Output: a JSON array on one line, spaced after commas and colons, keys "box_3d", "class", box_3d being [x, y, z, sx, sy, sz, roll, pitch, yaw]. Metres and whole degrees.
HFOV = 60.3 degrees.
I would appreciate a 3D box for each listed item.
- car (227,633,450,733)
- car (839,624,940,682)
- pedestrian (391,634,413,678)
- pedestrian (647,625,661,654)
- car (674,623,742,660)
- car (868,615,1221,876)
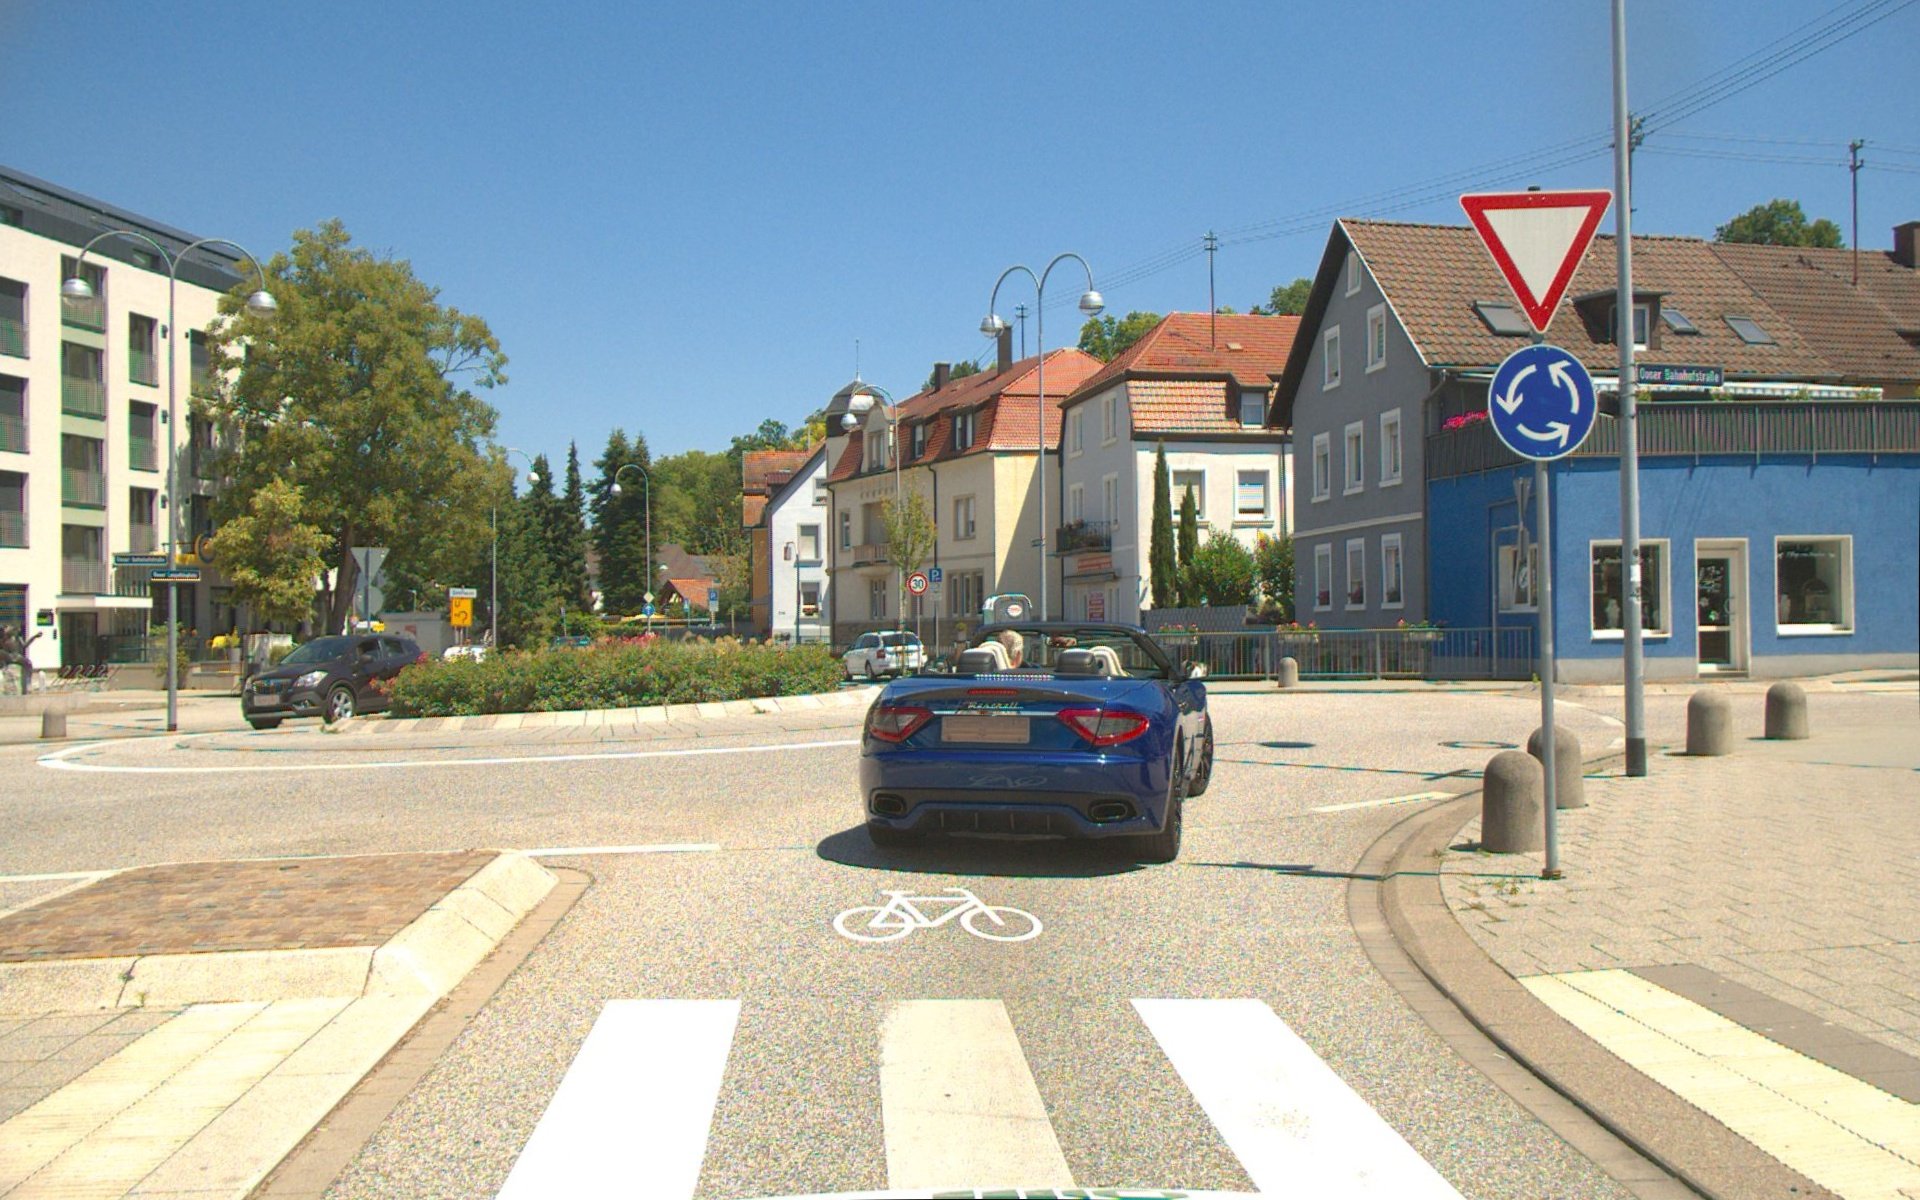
[{"box_3d": [-11.291, 1.464, 30.348, 1.760, 1.671, 4.062, -2, -1, 16], "class": "car"}, {"box_3d": [-2.208, 1.641, 50.511, 1.890, 1.641, 4.122, -1, -2, -20], "class": "car"}, {"box_3d": [-20.564, 2.066, 60.961, 0.523, 1.603, 0.563, -2, -1, 10], "class": "pedestrian"}, {"box_3d": [-16.844, 2.181, 91.142, 0.604, 1.613, 0.582, -1, -1, -27], "class": "pedestrian"}, {"box_3d": [-11.864, 1.955, 77.731, 1.831, 1.616, 3.958, -2, -1, -31], "class": "car"}, {"box_3d": [0.475, 0.804, 10.915, 1.871, 1.384, 4.285, 0, -1, 1], "class": "car"}]
